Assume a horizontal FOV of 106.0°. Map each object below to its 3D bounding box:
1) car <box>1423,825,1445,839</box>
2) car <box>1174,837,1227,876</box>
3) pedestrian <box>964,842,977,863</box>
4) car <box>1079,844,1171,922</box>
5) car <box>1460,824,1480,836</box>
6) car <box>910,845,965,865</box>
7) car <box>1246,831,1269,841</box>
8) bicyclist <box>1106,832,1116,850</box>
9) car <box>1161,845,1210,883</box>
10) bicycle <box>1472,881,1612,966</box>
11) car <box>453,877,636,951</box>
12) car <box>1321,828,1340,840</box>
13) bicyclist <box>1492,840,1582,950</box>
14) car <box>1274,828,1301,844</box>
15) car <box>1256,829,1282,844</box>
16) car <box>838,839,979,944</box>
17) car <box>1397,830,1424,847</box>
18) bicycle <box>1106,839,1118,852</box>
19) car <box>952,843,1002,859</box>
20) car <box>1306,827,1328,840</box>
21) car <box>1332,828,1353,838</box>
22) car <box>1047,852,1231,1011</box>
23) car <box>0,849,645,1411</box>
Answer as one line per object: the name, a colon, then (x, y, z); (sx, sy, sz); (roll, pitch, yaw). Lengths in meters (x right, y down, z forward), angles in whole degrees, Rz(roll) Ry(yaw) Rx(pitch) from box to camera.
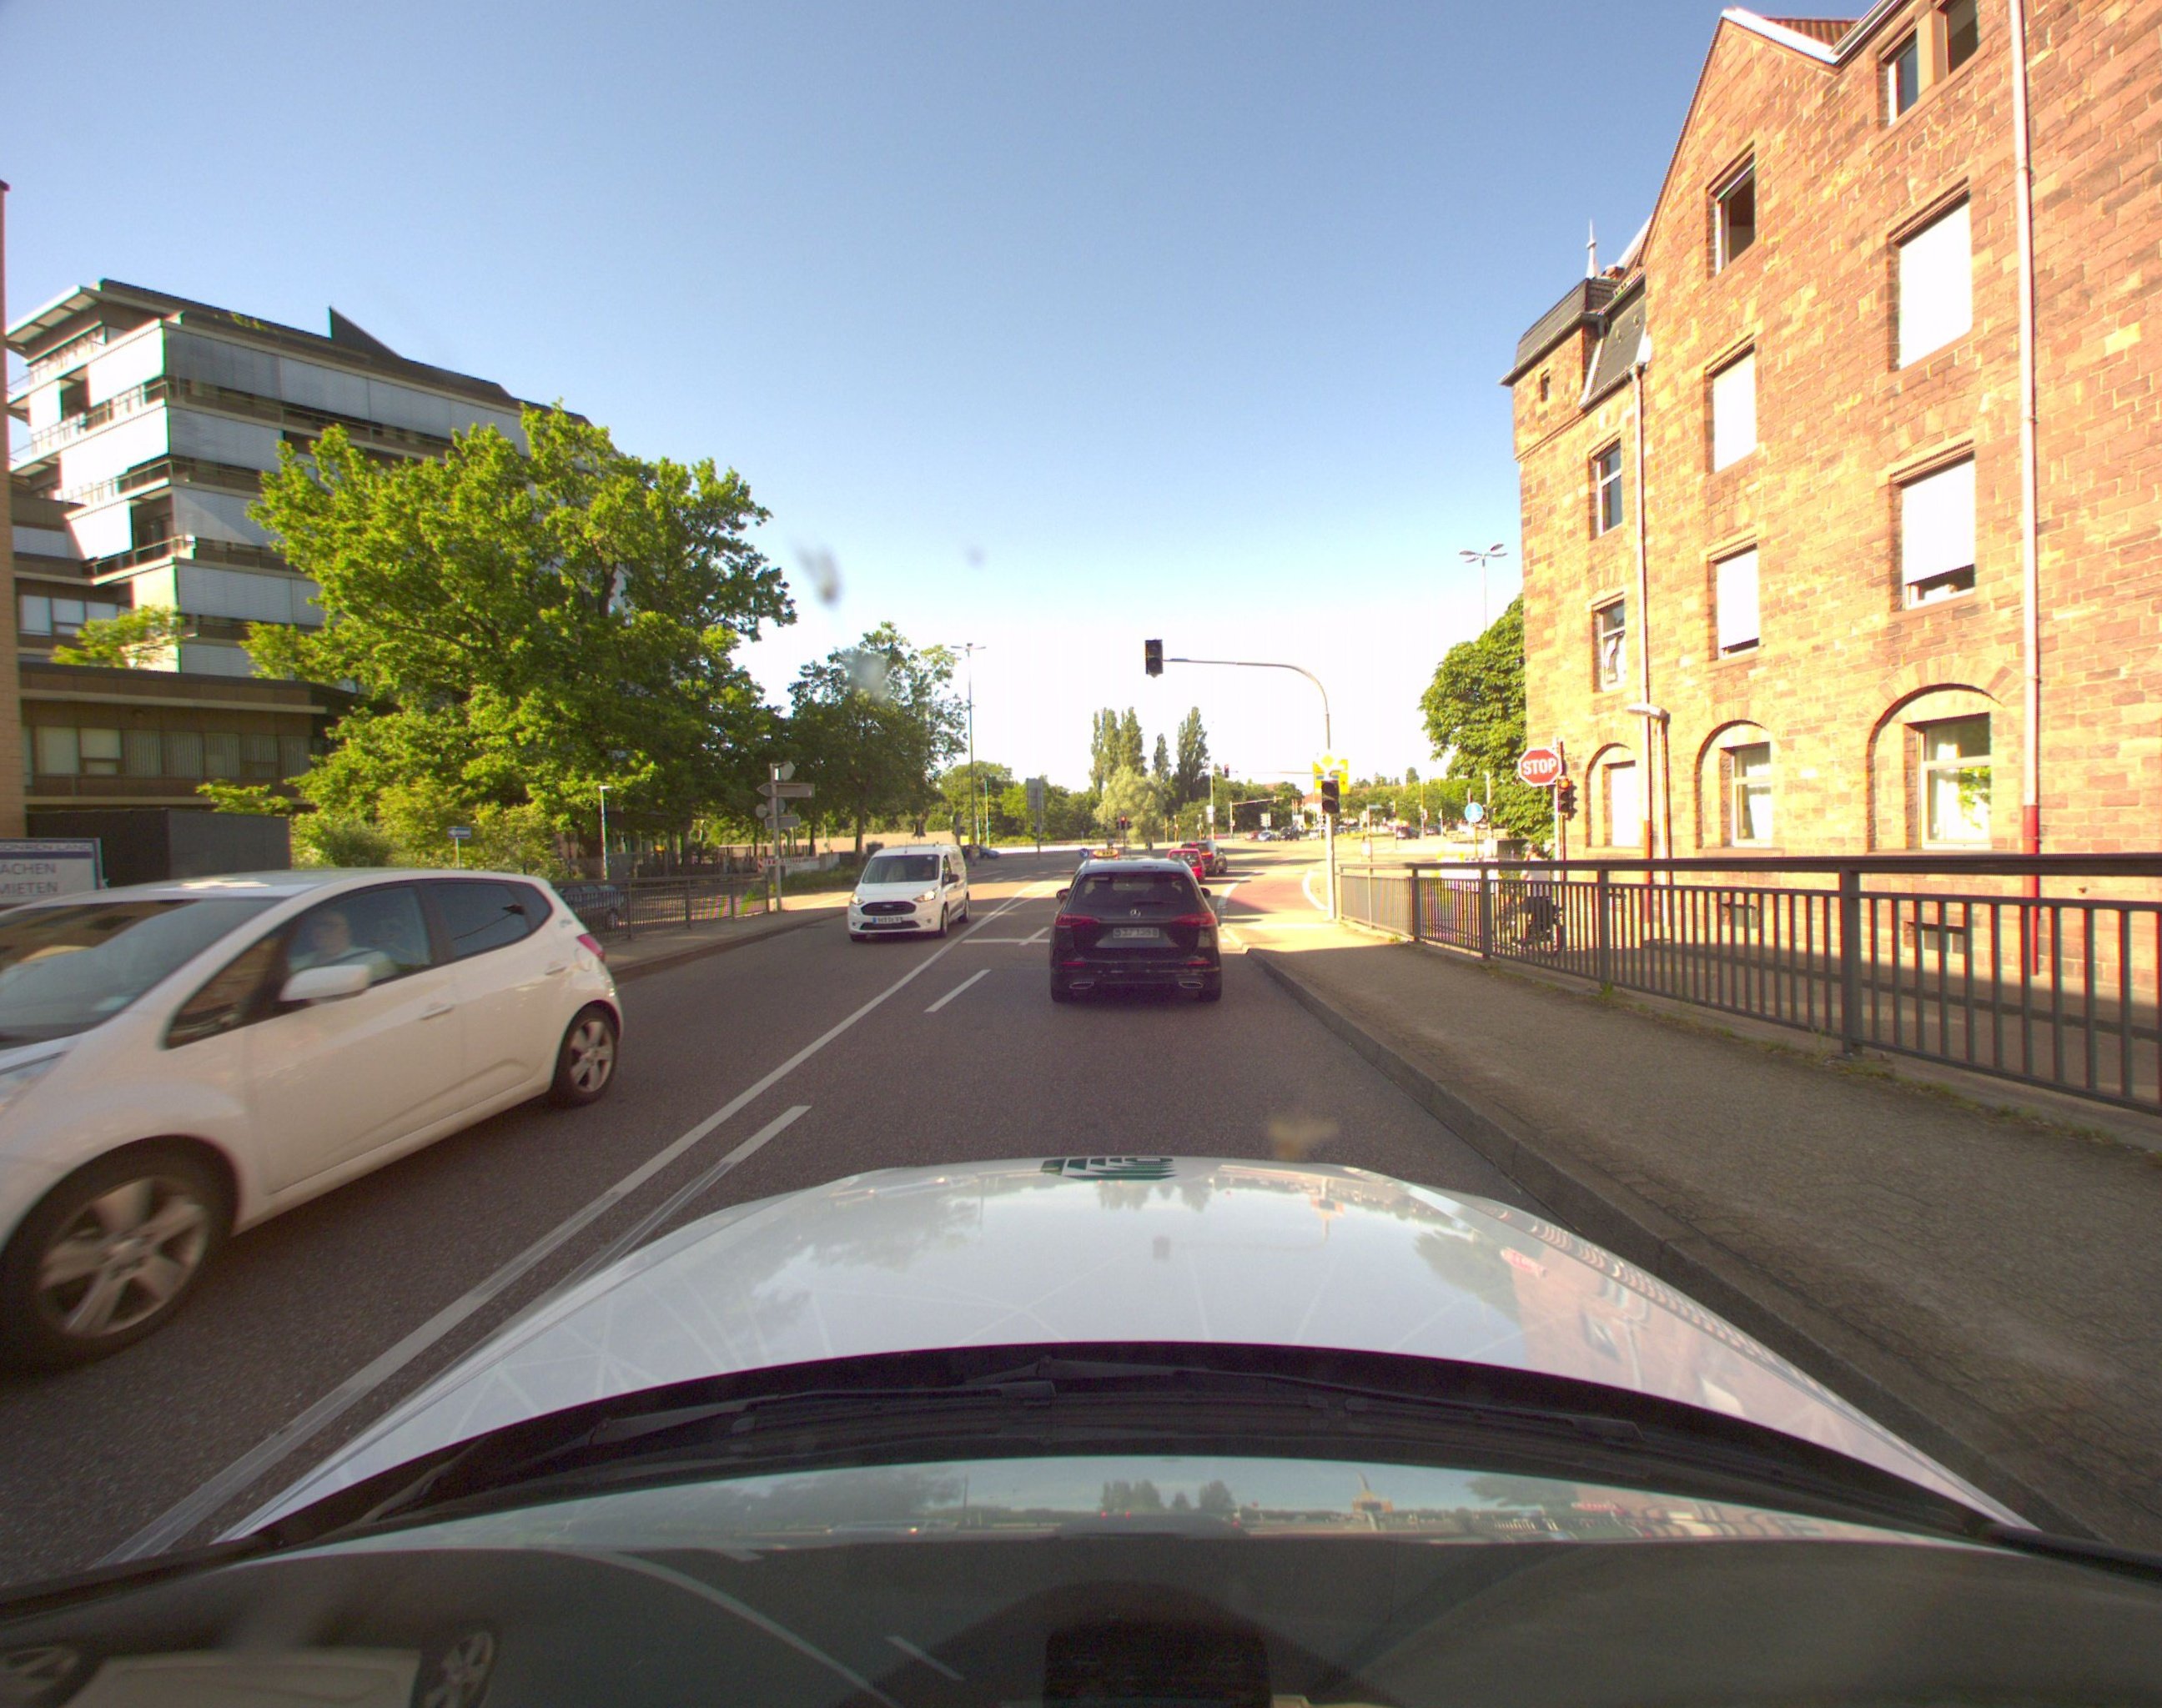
car: (48.507, -3.095, 111.979); (1.974, 1.793, 4.026); (-2, 1, 35)
car: (5.997, 0.083, 40.592); (1.853, 1.790, 4.436); (0, 2, 18)
pedestrian: (-8.824, -0.107, 65.159); (0.683, 1.538, 1.369); (-1, -3, 7)
car: (1.042, 0.571, 18.682); (1.812, 1.489, 4.005); (-2, 1, 4)
car: (60.371, -3.733, 126.470); (1.974, 1.640, 4.026); (-2, 1, 38)
car: (-11.988, 0.080, 67.937); (4.393, 1.438, 1.838); (-2, 1, 31)
car: (29.034, -2.910, 133.910); (1.975, 1.548, 4.024); (0, 2, 45)
bicyclist: (2.999, -1.285, 80.903); (0.682, 1.701, 1.202); (-2, 2, 14)
car: (4.559, 0.372, 35.139); (1.808, 1.479, 4.013); (0, 1, 11)
bicycle: (7.405, 1.071, 13.258); (0.798, 1.110, 2.398); (-1, 1, -5)
car: (-14.199, 1.524, 21.927); (1.813, 1.503, 4.453); (-2, 1, 1)
car: (35.153, -2.781, 114.880); (1.707, 1.582, 4.029); (-1, 1, 29)
bicyclist: (7.400, 0.638, 13.261); (0.798, 1.705, 1.083); (0, -1, -6)
car: (27.233, -2.422, 107.286); (1.974, 1.935, 4.883); (-1, 1, 33)
car: (25.715, -2.445, 111.387); (1.974, 1.864, 4.883); (-1, 1, 33)
car: (-3.393, 0.626, 17.083); (1.804, 1.801, 5.120); (-2, 1, 0)
car: (38.816, -1.799, 95.898); (1.974, 1.794, 4.025); (-1, -1, 38)
bicycle: (3.059, -0.821, 81.085); (0.682, 1.202, 2.336); (-2, 2, 14)
car: (-9.932, -0.284, 77.693); (4.395, 1.438, 1.837); (-2, 1, 27)
car: (31.477, -2.725, 108.600); (1.803, 1.582, 4.130); (-2, 1, 29)
car: (39.229, -3.156, 122.344); (1.974, 1.453, 4.026); (0, 0, 34)
car: (0.613, 0.762, 9.826); (1.744, 1.494, 4.001); (-1, -1, 1)
car: (-4.055, 0.818, 3.897); (1.815, 1.603, 3.997); (-2, 0, -2)
